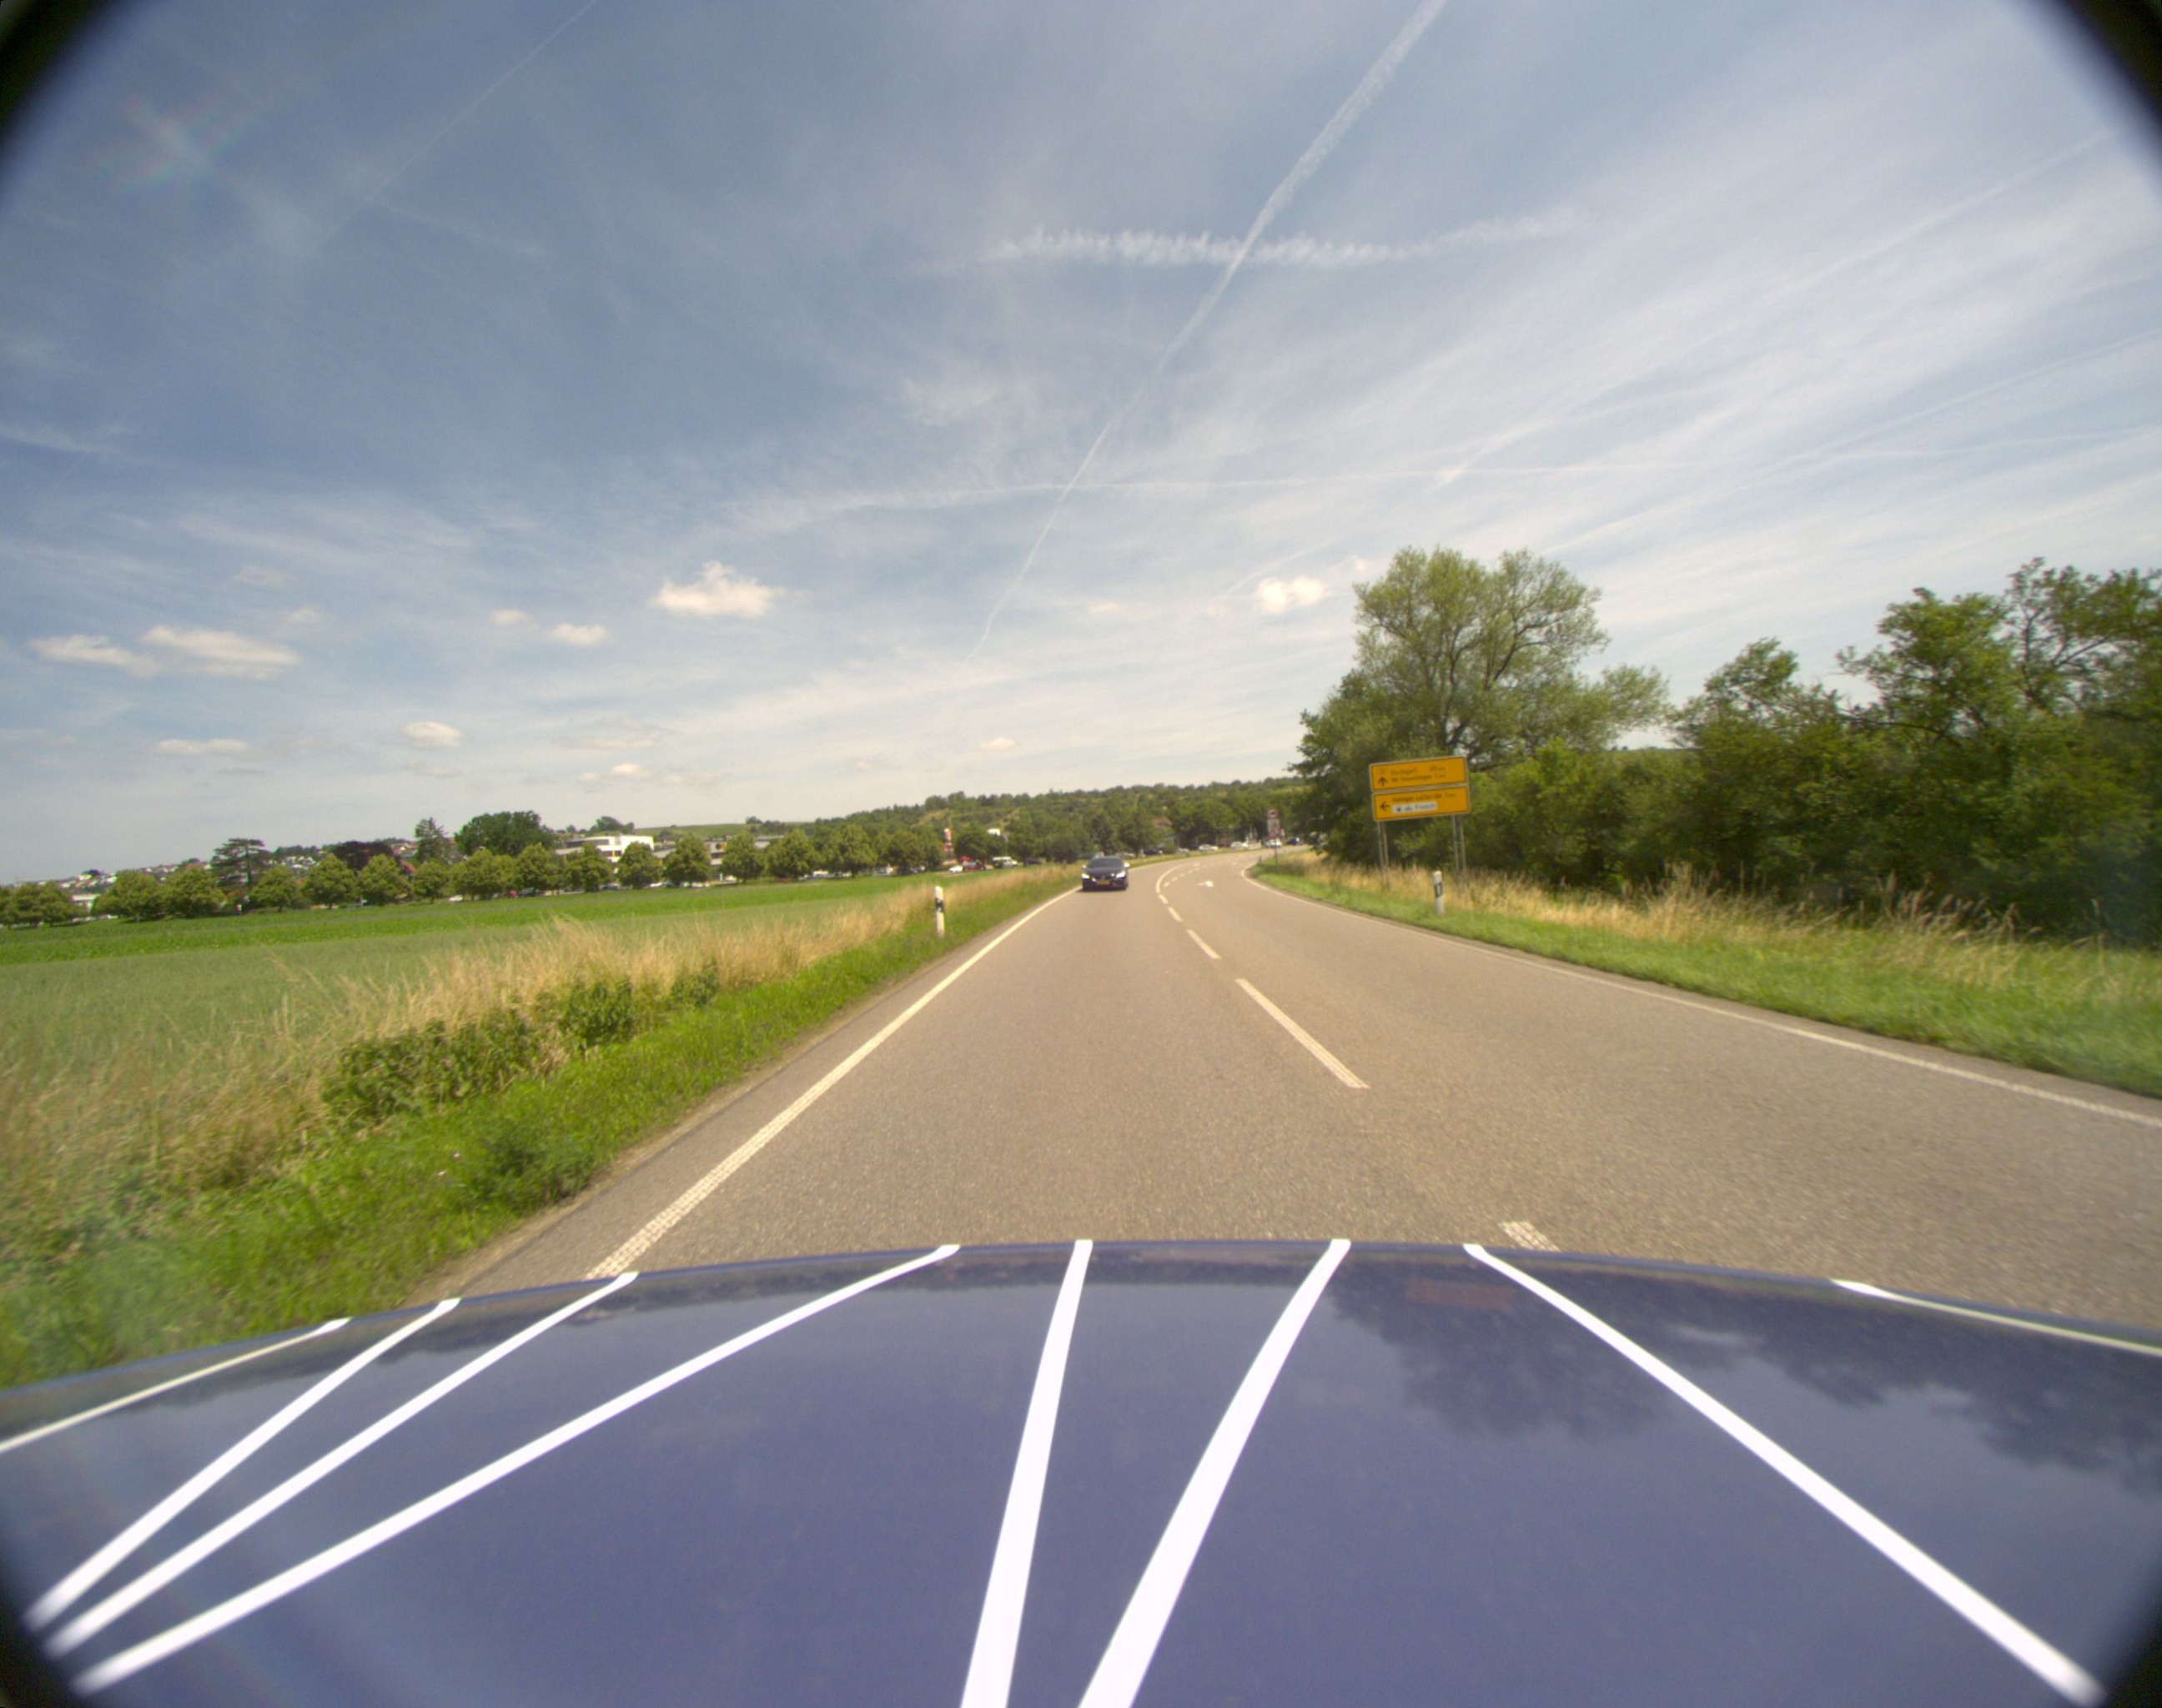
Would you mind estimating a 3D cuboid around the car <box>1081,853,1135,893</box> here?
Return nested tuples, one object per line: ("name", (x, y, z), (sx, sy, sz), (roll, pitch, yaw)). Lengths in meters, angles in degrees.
("car", (1.218, 0.744, 32.255), (1.784, 1.440, 4.607), (-2, 0, 8))

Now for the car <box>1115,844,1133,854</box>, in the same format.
("car", (9.716, -1.098, 171.993), (3.995, 2.002, 1.888), (-2, 1, 7))

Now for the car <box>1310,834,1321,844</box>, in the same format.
("car", (46.701, -2.988, 151.267), (1.884, 2.001, 4.005), (-2, 0, 16))

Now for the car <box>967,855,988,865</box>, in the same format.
("car", (-23.592, 1.414, 173.665), (4.470, 2.002, 1.887), (-2, 1, -5))

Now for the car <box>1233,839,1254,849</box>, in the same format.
("car", (34.716, -2.122, 162.277), (3.990, 2.002, 1.891), (-2, 1, 29))

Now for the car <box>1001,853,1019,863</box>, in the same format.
("car", (-16.186, 0.874, 174.153), (3.998, 2.002, 1.887), (-2, 1, -3))

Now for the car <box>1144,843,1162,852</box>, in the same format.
("car", (16.282, -1.432, 171.298), (3.995, 2.002, 1.888), (-2, 1, 7))

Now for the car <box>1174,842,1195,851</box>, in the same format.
("car", (22.949, -1.676, 168.297), (3.990, 2.002, 1.891), (-2, 1, 26))

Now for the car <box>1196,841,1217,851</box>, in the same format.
("car", (27.346, -1.808, 165.516), (3.990, 2.002, 1.891), (-2, 1, 29))

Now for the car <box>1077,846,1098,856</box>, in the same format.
("car", (1.459, -0.659, 171.614), (4.468, 2.002, 1.887), (-2, 1, 0))

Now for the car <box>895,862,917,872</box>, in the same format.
("car", (-40.084, 2.898, 174.196), (4.469, 2.002, 1.887), (-2, 1, -3))
